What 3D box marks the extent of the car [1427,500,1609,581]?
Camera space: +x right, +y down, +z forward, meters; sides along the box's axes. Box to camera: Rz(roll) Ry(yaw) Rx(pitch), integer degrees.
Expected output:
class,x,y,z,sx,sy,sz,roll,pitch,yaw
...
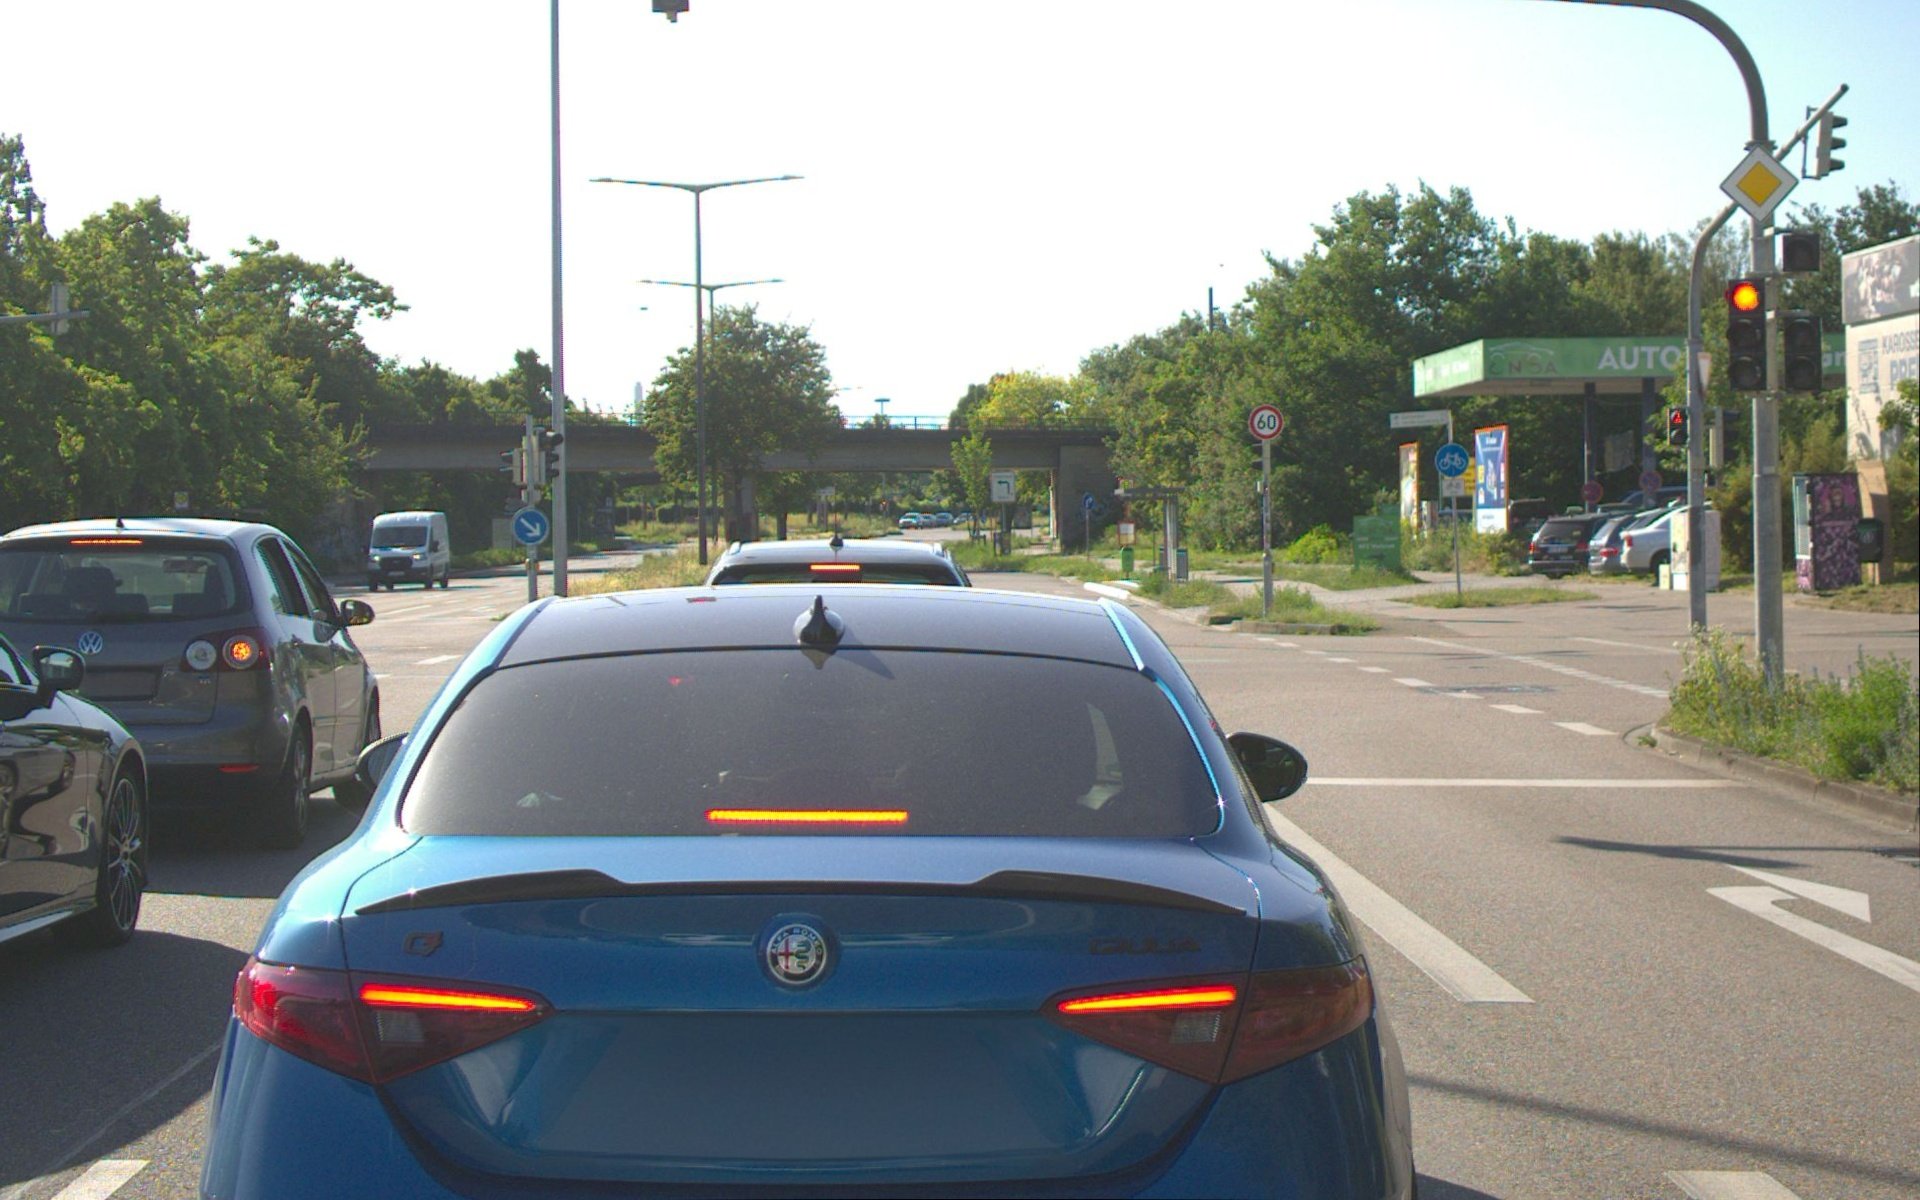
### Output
class,x,y,z,sx,sy,sz,roll,pitch,yaw
car,12.027,-1.283,74.155,3.483,1.700,1.696,-1,1,-16

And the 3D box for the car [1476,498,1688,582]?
class,x,y,z,sx,sy,sz,roll,pitch,yaw
car,12.827,-1.246,70.964,3.986,1.700,1.696,-1,1,-19

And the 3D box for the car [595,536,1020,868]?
class,x,y,z,sx,sy,sz,roll,pitch,yaw
car,-0.694,0.413,17.080,1.866,1.445,3.932,0,1,-1

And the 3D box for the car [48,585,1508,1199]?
class,x,y,z,sx,sy,sz,roll,pitch,yaw
car,-0.256,0.698,6.373,1.866,1.380,3.932,0,1,-1

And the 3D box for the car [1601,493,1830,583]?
class,x,y,z,sx,sy,sz,roll,pitch,yaw
car,14.518,-1.193,66.108,3.986,1.700,1.696,-1,1,-16

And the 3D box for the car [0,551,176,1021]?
class,x,y,z,sx,sy,sz,roll,pitch,yaw
car,-3.801,0.572,10.642,1.768,1.409,4.461,0,1,-1

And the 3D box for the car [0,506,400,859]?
class,x,y,z,sx,sy,sz,roll,pitch,yaw
car,-3.983,0.333,17.535,1.648,1.593,3.932,0,1,-1

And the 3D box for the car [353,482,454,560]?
class,x,y,z,sx,sy,sz,roll,pitch,yaw
car,-17.753,-2.527,109.979,2.431,2.418,5.831,0,1,-2
